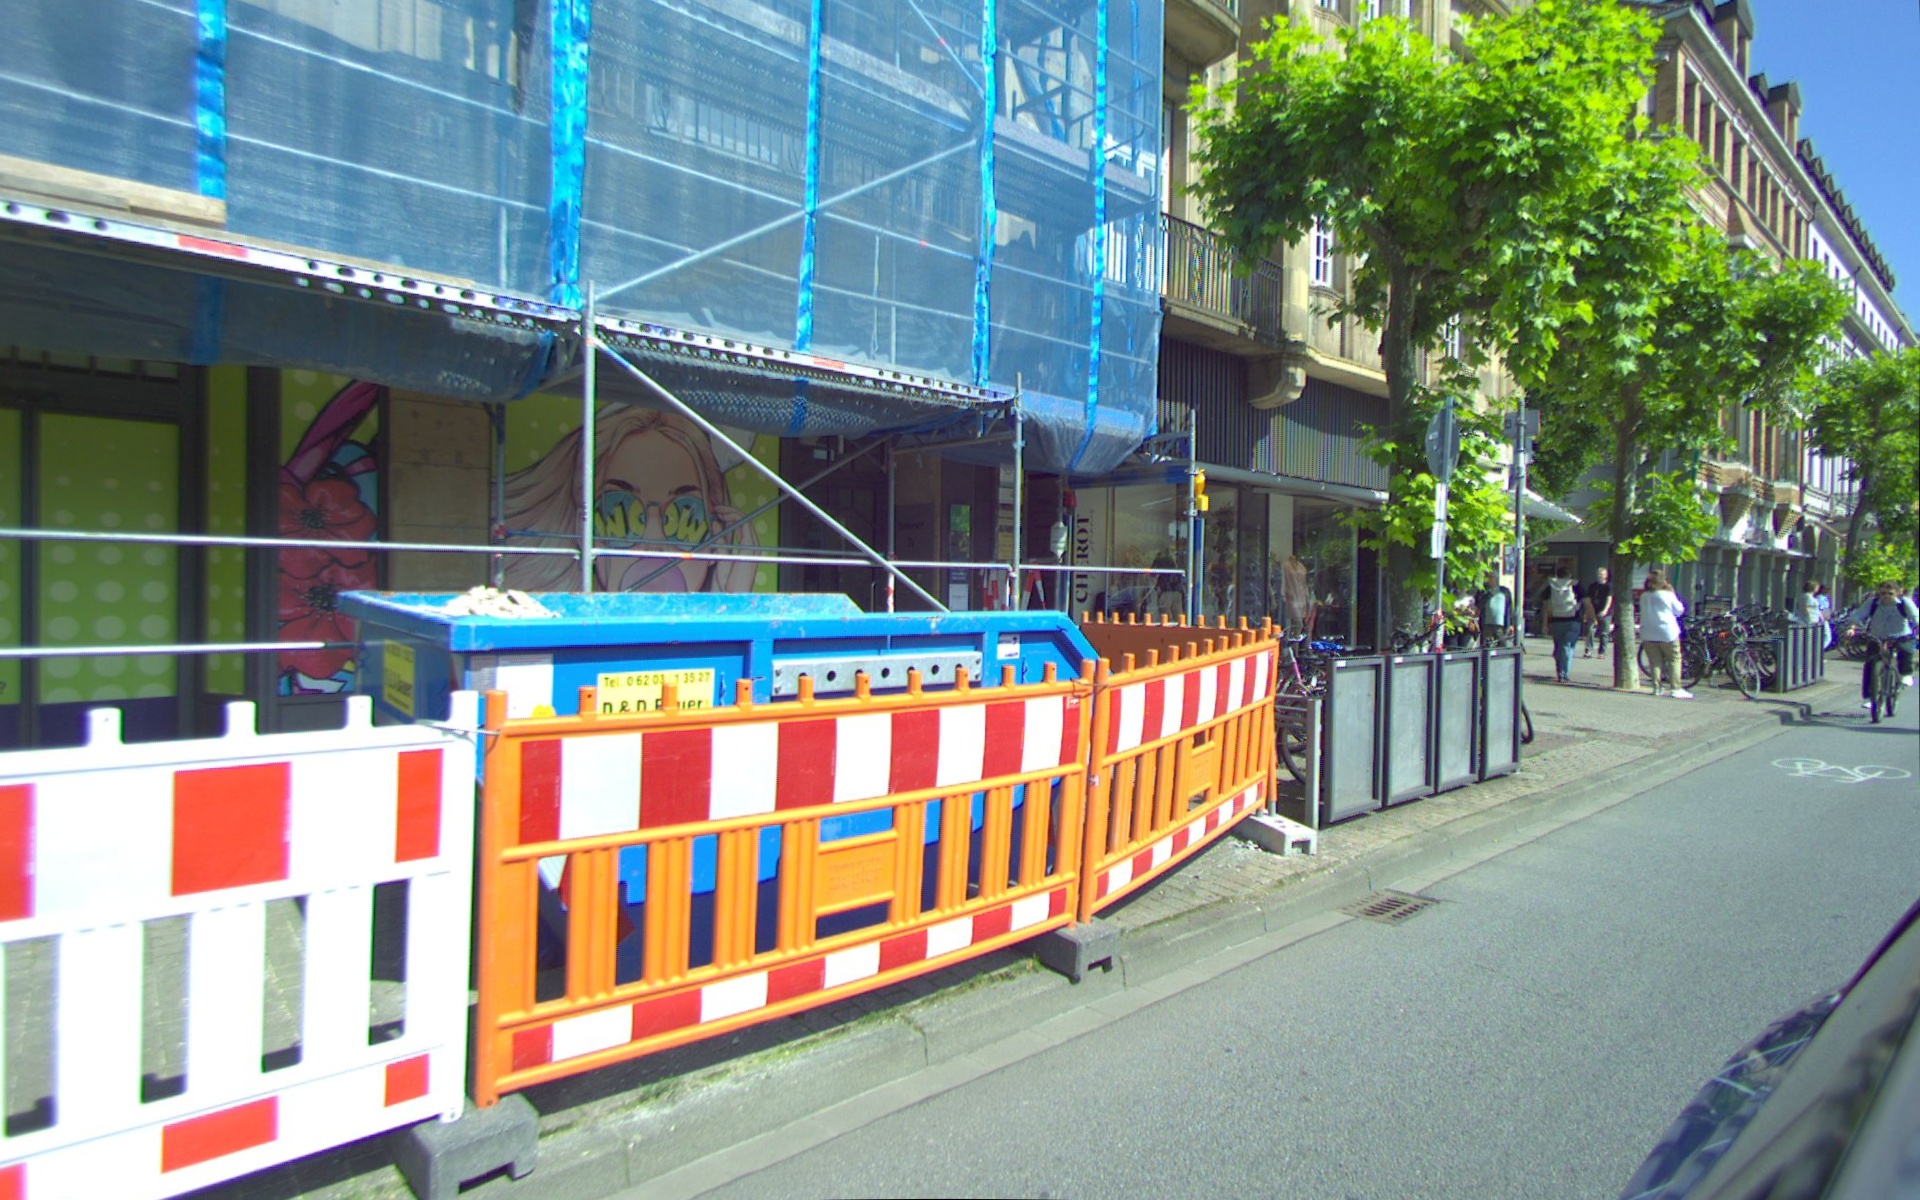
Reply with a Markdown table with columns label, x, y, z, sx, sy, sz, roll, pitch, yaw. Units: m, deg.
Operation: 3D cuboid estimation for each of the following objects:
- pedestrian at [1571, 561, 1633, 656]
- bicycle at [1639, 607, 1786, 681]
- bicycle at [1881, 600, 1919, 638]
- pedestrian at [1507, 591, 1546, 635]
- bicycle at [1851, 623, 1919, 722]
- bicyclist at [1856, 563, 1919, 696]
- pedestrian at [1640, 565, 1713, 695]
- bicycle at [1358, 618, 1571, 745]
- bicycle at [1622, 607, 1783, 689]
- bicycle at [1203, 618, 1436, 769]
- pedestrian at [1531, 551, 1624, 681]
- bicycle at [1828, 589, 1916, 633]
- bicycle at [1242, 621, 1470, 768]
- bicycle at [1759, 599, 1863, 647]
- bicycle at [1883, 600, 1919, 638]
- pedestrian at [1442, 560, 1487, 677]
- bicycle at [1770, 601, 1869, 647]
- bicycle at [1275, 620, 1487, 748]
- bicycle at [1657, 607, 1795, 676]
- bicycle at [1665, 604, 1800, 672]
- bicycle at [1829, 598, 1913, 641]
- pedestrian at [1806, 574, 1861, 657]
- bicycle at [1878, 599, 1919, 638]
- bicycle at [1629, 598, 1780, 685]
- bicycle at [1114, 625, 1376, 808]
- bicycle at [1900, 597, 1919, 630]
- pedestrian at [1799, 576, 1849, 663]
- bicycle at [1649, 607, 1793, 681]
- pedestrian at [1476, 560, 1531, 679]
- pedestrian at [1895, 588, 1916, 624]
| label | x | y | z | sx | sy | sz | roll | pitch | yaw |
| --- | --- | --- | --- | --- | --- | --- | --- | --- | --- |
| pedestrian | 12.636 | 0.150 | 19.926 | 0.966 | 1.803 | 0.670 | 0 | 2 | -36 |
| bicycle | 11.743 | 0.651 | 15.833 | 0.547 | 1.030 | 1.755 | 1 | 1 | -42 |
| bicycle | 30.128 | 0.607 | 31.742 | 0.474 | 1.161 | 1.755 | 1 | 1 | -42 |
| pedestrian | 16.588 | 0.369 | 29.638 | 0.628 | 1.271 | 0.793 | 0 | 0 | -37 |
| bicycle | 11.633 | 0.858 | 12.509 | 1.865 | 1.107 | 0.735 | 0 | 0 | -42 |
| bicyclist | 11.611 | 0.352 | 12.493 | 0.765 | 1.597 | 0.749 | 1 | 0 | -42 |
| pedestrian | 9.759 | 0.383 | 13.789 | 0.642 | 1.703 | 0.657 | -1 | 2 | -43 |
| bicycle | 4.789 | 0.736 | 9.713 | 0.474 | 1.030 | 1.755 | 1 | 1 | -42 |
| bicycle | 10.613 | 0.656 | 14.536 | 0.644 | 1.030 | 1.762 | 1 | 1 | -23 |
| bicycle | 2.873 | 0.702 | 8.251 | 0.474 | 1.030 | 1.755 | 1 | 1 | -42 |
| pedestrian | 9.316 | 0.215 | 15.268 | 0.874 | 1.871 | 0.818 | 0 | 3 | -33 |
| bicycle | 25.358 | 0.284 | 28.156 | 0.474 | 1.161 | 1.755 | 1 | 1 | -42 |
| bicycle | 3.293 | 0.740 | 8.551 | 0.474 | 1.030 | 1.755 | 1 | 1 | -42 |
| bicycle | 19.593 | 0.512 | 23.328 | 0.474 | 1.030 | 1.755 | 1 | 1 | -42 |
| bicycle | 30.551 | 0.619 | 32.152 | 0.491 | 1.161 | 1.755 | 1 | 1 | -42 |
| pedestrian | 7.510 | 0.266 | 15.083 | 0.470 | 1.703 | 0.380 | 2 | 2 | 17 |
| bicycle | 20.295 | 0.557 | 23.934 | 0.474 | 0.997 | 1.719 | 1 | 1 | -42 |
| bicycle | 3.834 | 0.739 | 9.327 | 1.736 | 1.031 | 0.480 | 2 | 1 | 20 |
| bicycle | 12.658 | 0.658 | 16.764 | 0.474 | 1.030 | 1.755 | 1 | 1 | -42 |
| bicycle | 13.076 | 0.617 | 17.173 | 0.474 | 1.030 | 1.755 | 1 | 1 | -42 |
| bicycle | 26.476 | 0.539 | 29.433 | 0.474 | 1.161 | 1.755 | 1 | 1 | -42 |
| pedestrian | 17.949 | 0.309 | 20.795 | 0.690 | 1.646 | 0.696 | 0 | 3 | -43 |
| bicycle | 29.691 | 0.593 | 31.381 | 0.474 | 1.161 | 1.755 | 1 | 1 | -42 |
| bicycle | 11.315 | 0.603 | 15.431 | 0.569 | 1.196 | 1.755 | 1 | 1 | -42 |
| bicycle | 1.914 | 0.737 | 7.034 | 0.474 | 1.030 | 1.755 | 1 | 1 | -42 |
| bicycle | 34.580 | 0.487 | 35.881 | 0.518 | 1.161 | 1.755 | 1 | 1 | -42 |
| pedestrian | 17.080 | 0.381 | 20.005 | 0.599 | 1.645 | 0.634 | 6 | 4 | 44 |
| bicycle | 12.224 | 0.679 | 16.298 | 0.577 | 1.030 | 1.755 | 0 | 2 | -42 |
| pedestrian | 8.009 | 0.271 | 14.933 | 0.530 | 1.703 | 0.497 | 3 | 3 | 16 |
| pedestrian | 46.123 | 0.291 | 49.351 | 0.664 | 1.718 | 0.658 | 1 | 0 | -39 |
